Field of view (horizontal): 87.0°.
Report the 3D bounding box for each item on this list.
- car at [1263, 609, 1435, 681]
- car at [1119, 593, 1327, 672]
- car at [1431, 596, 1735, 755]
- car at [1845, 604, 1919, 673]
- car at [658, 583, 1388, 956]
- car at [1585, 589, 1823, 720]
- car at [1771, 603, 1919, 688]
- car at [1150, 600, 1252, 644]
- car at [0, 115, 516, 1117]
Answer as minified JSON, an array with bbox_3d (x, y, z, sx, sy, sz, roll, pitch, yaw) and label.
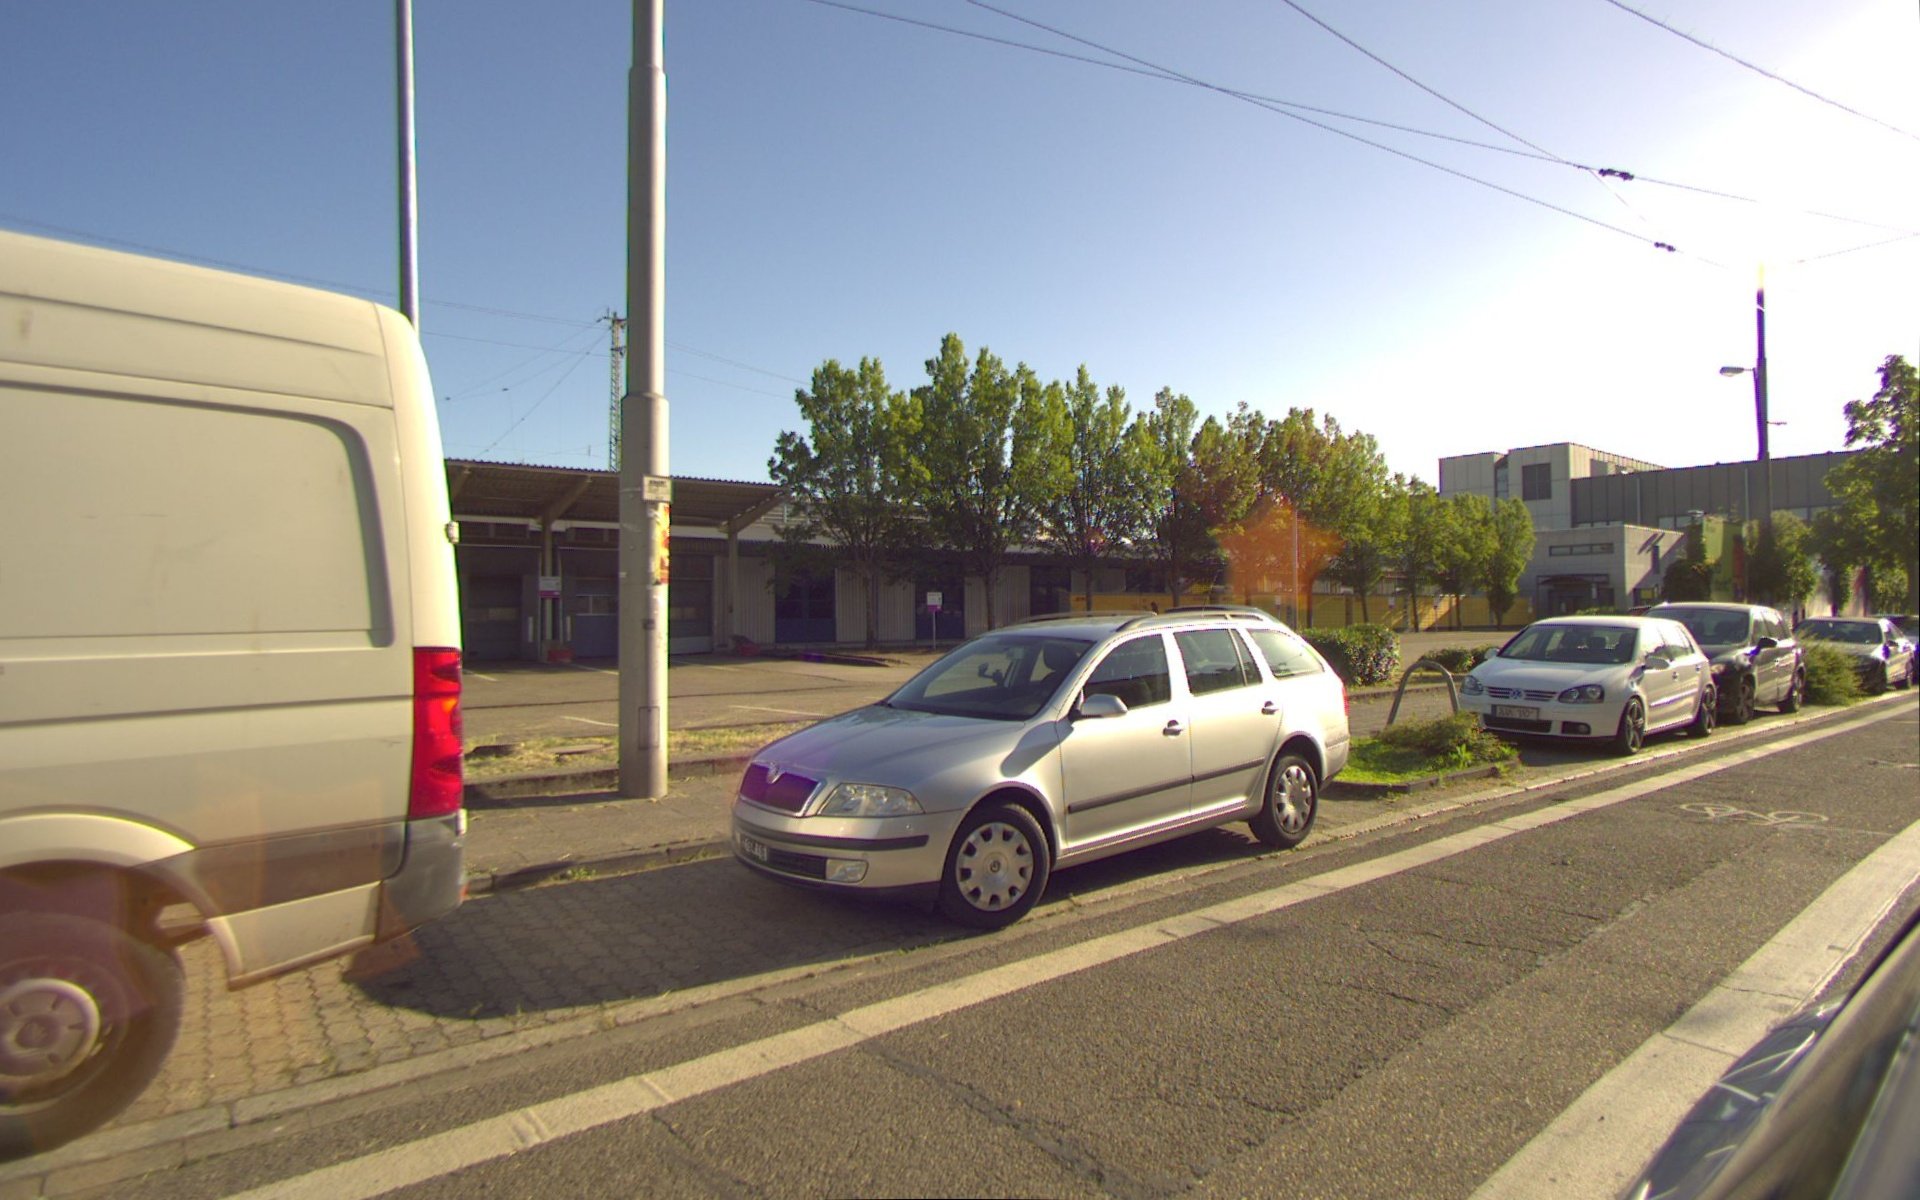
[{"bbox_3d":[6.461,0.706,16.708,3.002,1.047,1.311,0,-2,-39],"label":"car"},{"bbox_3d":[5.173,0.651,20.288,1.727,1.418,3.710,0,-2,-39],"label":"car"},{"bbox_3d":[7.437,0.738,11.929,4.174,1.531,1.732,0,1,-38],"label":"car"},{"bbox_3d":[22.110,0.847,23.581,4.267,1.483,1.729,0,-2,-42],"label":"car"},{"bbox_3d":[0.642,0.696,6.390,4.518,1.549,1.914,0,0,-39],"label":"car"},{"bbox_3d":[10.915,0.666,14.745,4.264,1.624,1.732,0,1,-39],"label":"car"},{"bbox_3d":[17.874,0.841,20.089,4.415,1.483,1.732,0,-2,-38],"label":"car"},{"bbox_3d":[8.805,0.788,37.152,1.707,1.515,3.322,0,0,-36],"label":"car"},{"bbox_3d":[-4.556,0.034,2.499,5.983,2.699,2.185,0,1,-40],"label":"car"}]
